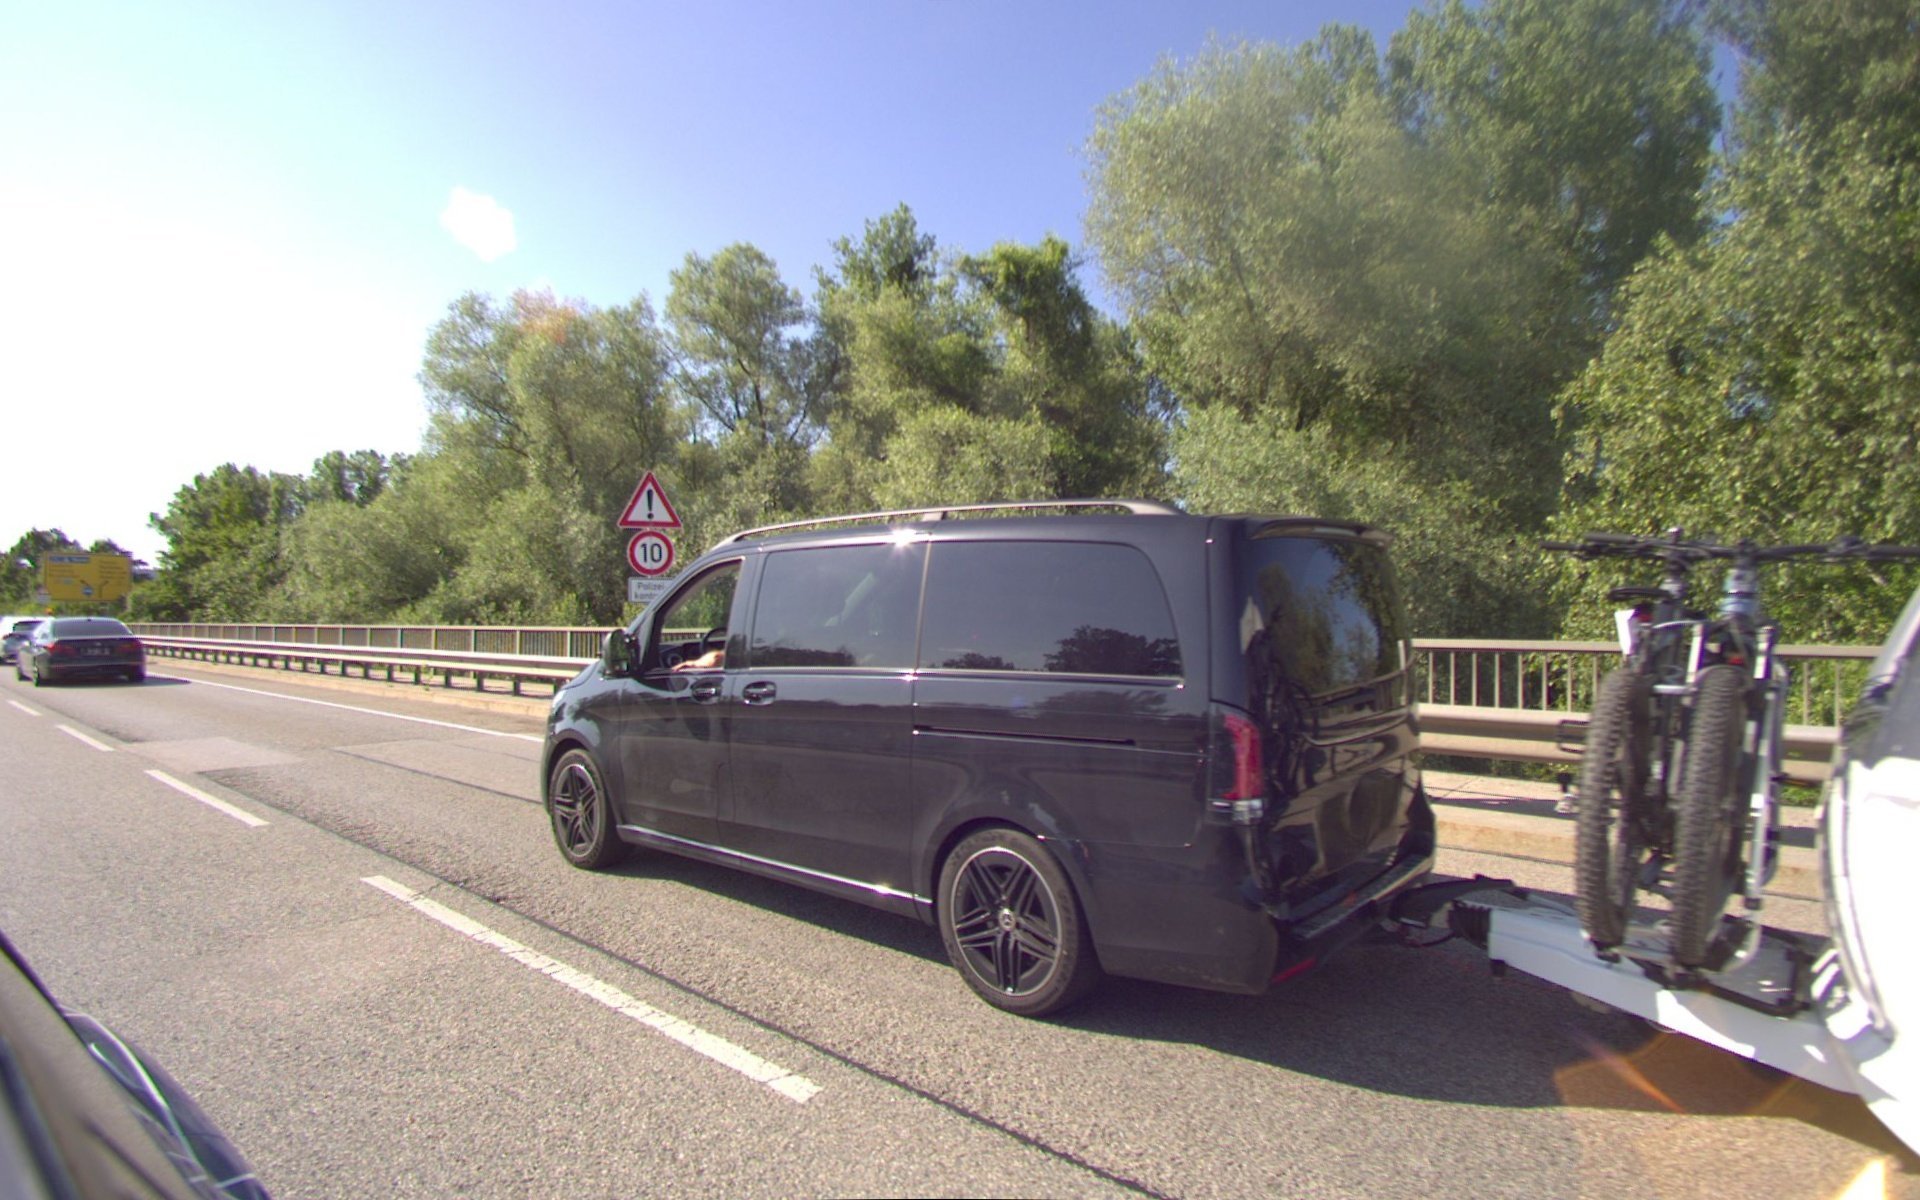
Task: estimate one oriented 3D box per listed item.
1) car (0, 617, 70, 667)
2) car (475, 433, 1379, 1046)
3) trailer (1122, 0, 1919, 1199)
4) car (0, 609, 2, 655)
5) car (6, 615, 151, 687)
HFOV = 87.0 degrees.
[{"bbox_3d":[-29.393,1.268,31.610,4.483,1.447,1.714,-1,-1,40],"label":"car"},{"bbox_3d":[-0.618,0.450,5.519,5.008,1.868,1.962,-1,-1,43],"label":"car"},{"bbox_3d":[4.296,-0.059,1.237,8.061,2.758,2.527,-1,-3,42],"label":"trailer"},{"bbox_3d":[-40.000,1.282,40.620,4.530,1.820,1.946,-1,0,42],"label":"car"},{"bbox_3d":[-19.719,1.063,22.579,4.648,1.431,1.768,-1,-1,40],"label":"car"}]
